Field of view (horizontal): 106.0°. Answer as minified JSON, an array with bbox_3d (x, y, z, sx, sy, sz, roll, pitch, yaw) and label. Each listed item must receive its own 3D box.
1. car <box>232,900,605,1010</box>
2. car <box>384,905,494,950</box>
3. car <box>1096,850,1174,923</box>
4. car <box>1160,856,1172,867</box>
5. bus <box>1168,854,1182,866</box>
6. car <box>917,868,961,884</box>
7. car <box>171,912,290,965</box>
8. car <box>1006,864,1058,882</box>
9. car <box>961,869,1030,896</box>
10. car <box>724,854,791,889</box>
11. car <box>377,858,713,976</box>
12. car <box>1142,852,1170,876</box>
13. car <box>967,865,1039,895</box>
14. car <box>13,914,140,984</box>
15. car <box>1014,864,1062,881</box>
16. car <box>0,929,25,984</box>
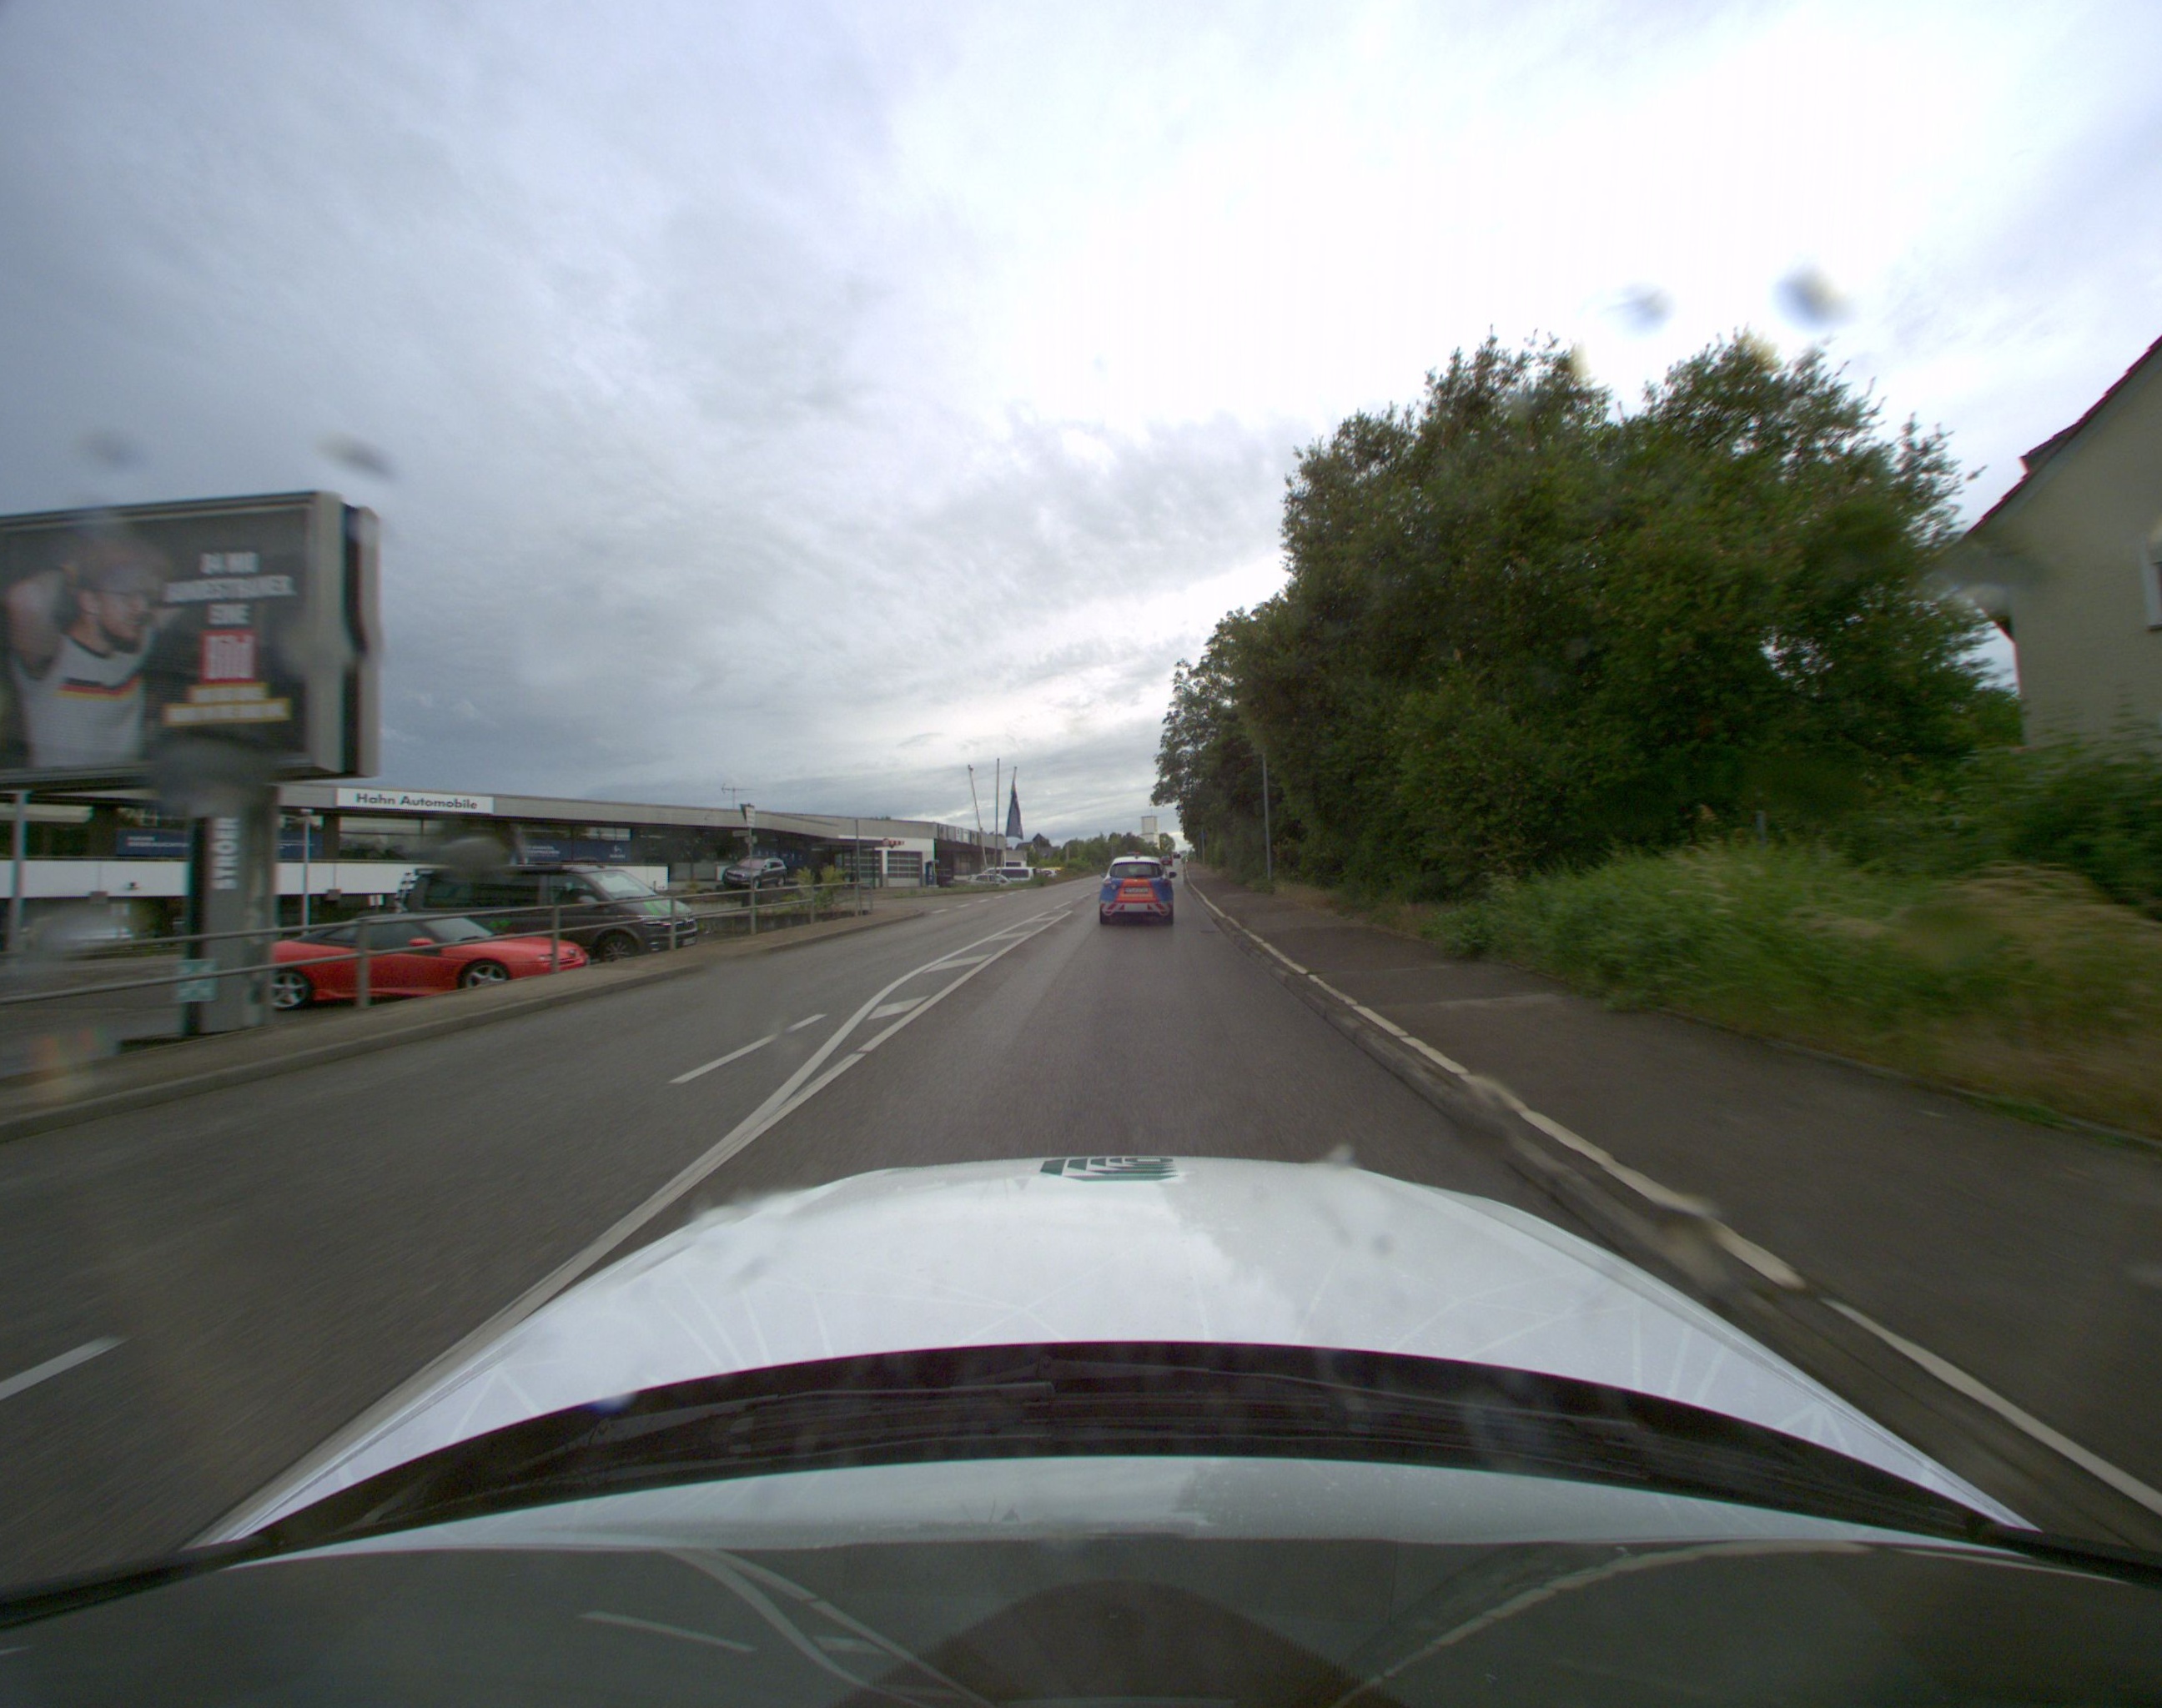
[{"bbox_3d":[-9.938,1.473,12.527,4.087,1.267,1.766,-2,-1,-7],"label":"car"},{"bbox_3d":[-23.937,2.708,30.355,4.052,1.428,1.901,-3,-1,31],"label":"car"},{"bbox_3d":[1.391,0.766,19.859,1.648,1.593,3.575,-1,-2,7],"label":"car"},{"bbox_3d":[12.139,1.092,116.187,1.607,1.407,3.501,-3,-1,4],"label":"car"},{"bbox_3d":[25.893,1.685,224.619,2.899,3.170,11.470,-3,-1,2],"label":"bus"},{"bbox_3d":[-13.623,2.131,77.923,3.970,1.416,1.966,-3,-1,40],"label":"car"},{"bbox_3d":[-27.187,2.652,26.007,3.939,1.428,1.791,-3,-1,31],"label":"car"},{"bbox_3d":[-4.220,1.629,70.202,4.208,1.368,1.876,-2,0,3],"label":"car"},{"bbox_3d":[-5.382,1.807,51.624,3.990,1.478,1.826,-3,0,5],"label":"car"},{"bbox_3d":[-17.845,0.956,45.081,1.391,1.800,4.261,-3,-1,9],"label":"car"},{"bbox_3d":[-10.008,1.143,15.528,5.054,1.870,1.821,-3,-1,-3],"label":"car"},{"bbox_3d":[5.375,0.736,58.678,1.795,1.590,3.565,-3,-1,2],"label":"car"},{"bbox_3d":[-5.159,1.706,54.163,4.391,1.798,1.937,-3,-1,5],"label":"car"},{"bbox_3d":[-29.786,2.736,24.129,3.939,1.788,1.832,-3,-1,31],"label":"car"},{"bbox_3d":[-3.818,1.655,72.834,4.045,1.291,1.806,-2,0,3],"label":"car"},{"bbox_3d":[-31.235,2.895,22.642,3.939,1.428,1.855,-3,-1,31],"label":"car"}]
